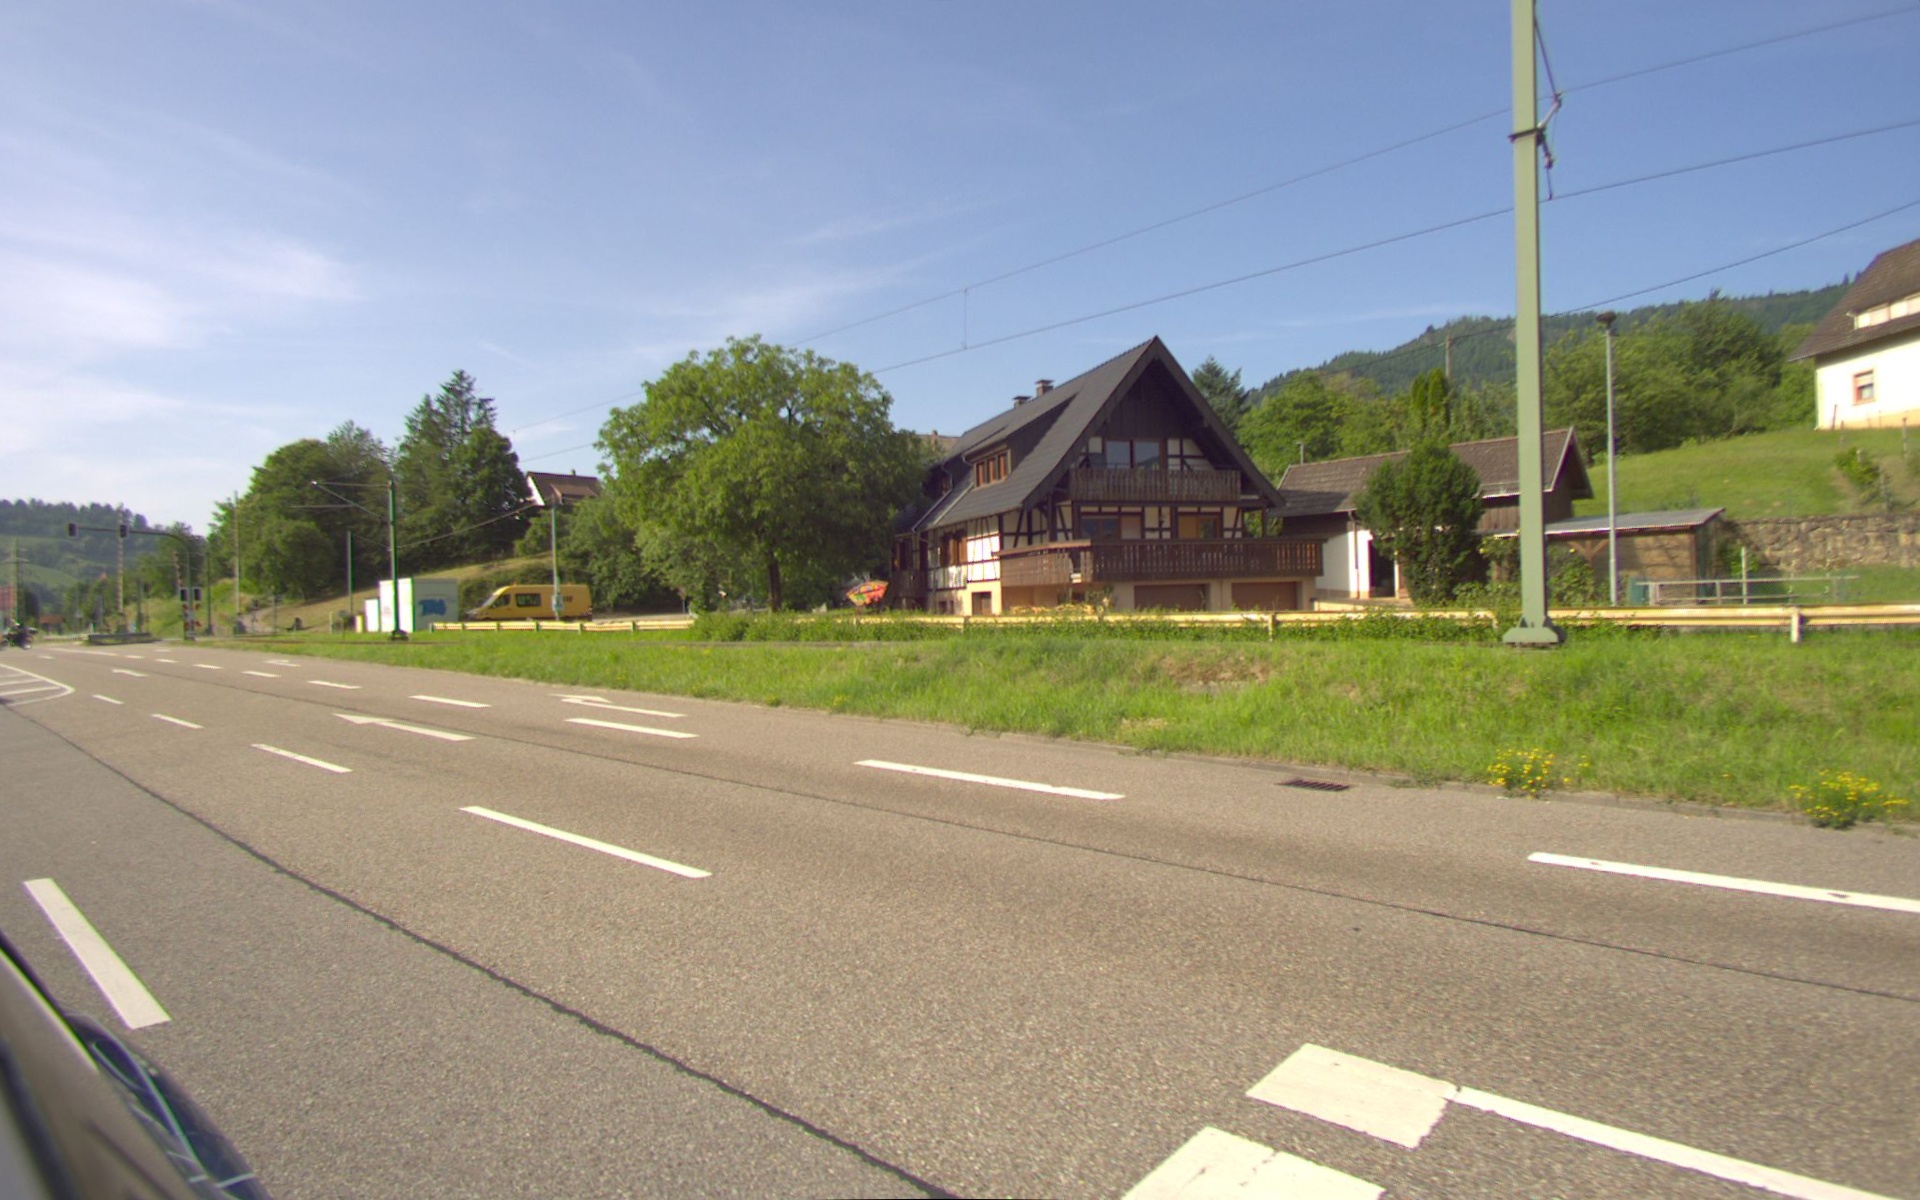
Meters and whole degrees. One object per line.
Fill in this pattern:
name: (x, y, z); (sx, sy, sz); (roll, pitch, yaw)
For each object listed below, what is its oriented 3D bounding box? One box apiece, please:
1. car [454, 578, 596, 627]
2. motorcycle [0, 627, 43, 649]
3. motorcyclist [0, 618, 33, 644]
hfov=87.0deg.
car: (-25.134, 0.108, 58.658); (6.973, 2.475, 2.955); (-3, 0, -37)
motorcycle: (-61.824, 2.498, 66.133); (0.998, 1.278, 2.575); (-3, 1, 22)
motorcyclist: (-61.795, 2.037, 66.284); (0.985, 1.555, 1.178); (-3, 1, 22)
